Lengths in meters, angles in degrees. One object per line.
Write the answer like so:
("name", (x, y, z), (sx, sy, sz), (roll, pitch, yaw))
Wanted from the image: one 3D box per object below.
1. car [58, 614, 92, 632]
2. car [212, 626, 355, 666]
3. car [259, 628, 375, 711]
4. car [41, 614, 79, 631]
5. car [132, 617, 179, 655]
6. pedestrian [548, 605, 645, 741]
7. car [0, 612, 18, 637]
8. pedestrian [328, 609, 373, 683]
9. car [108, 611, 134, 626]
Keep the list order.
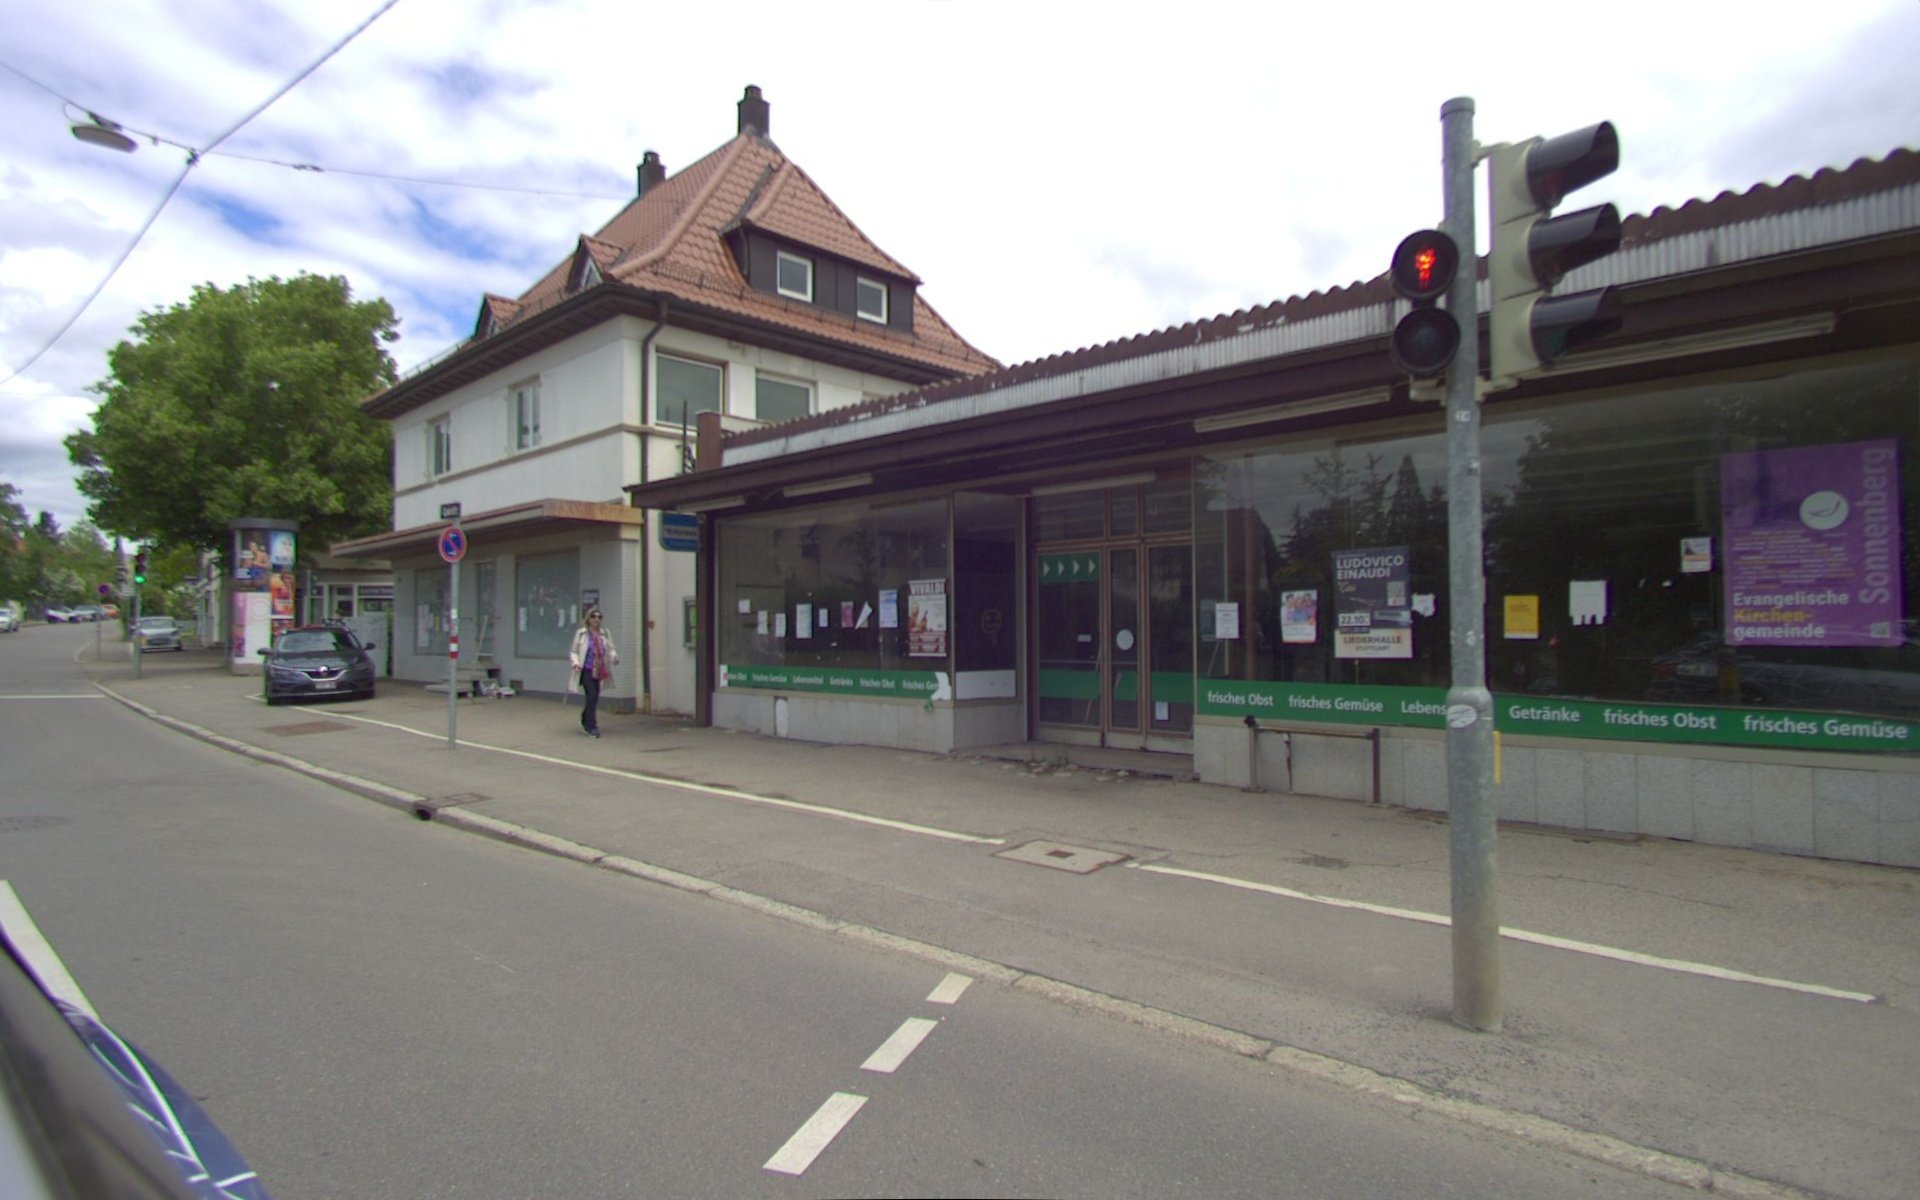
("car", (-86.570, 2.208, 99.078), (1.804, 1.636, 4.505), (0, 0, -32))
("car", (-25.908, 1.769, 38.916), (4.163, 1.443, 1.821), (0, -4, -13))
("car", (-13.312, 1.335, 20.821), (1.756, 1.452, 4.536), (-2, 0, -35))
("car", (-82.453, 2.055, 92.743), (2.255, 1.535, 1.322), (1, -2, -27))
("car", (-35.839, 1.581, 45.091), (1.568, 1.550, 2.929), (-2, 0, -38))
("pedestrian", (-4.945, 0.953, 13.765), (0.963, 1.764, 0.873), (-1, -1, 40))
("car", (-67.445, 1.680, 70.637), (1.840, 1.698, 4.361), (0, 0, -34))
("pedestrian", (-14.809, 1.112, 24.603), (0.874, 1.731, 0.763), (-1, -1, -29))
("car", (-101.065, 2.210, 121.912), (1.924, 1.639, 4.388), (-1, 0, -34))
